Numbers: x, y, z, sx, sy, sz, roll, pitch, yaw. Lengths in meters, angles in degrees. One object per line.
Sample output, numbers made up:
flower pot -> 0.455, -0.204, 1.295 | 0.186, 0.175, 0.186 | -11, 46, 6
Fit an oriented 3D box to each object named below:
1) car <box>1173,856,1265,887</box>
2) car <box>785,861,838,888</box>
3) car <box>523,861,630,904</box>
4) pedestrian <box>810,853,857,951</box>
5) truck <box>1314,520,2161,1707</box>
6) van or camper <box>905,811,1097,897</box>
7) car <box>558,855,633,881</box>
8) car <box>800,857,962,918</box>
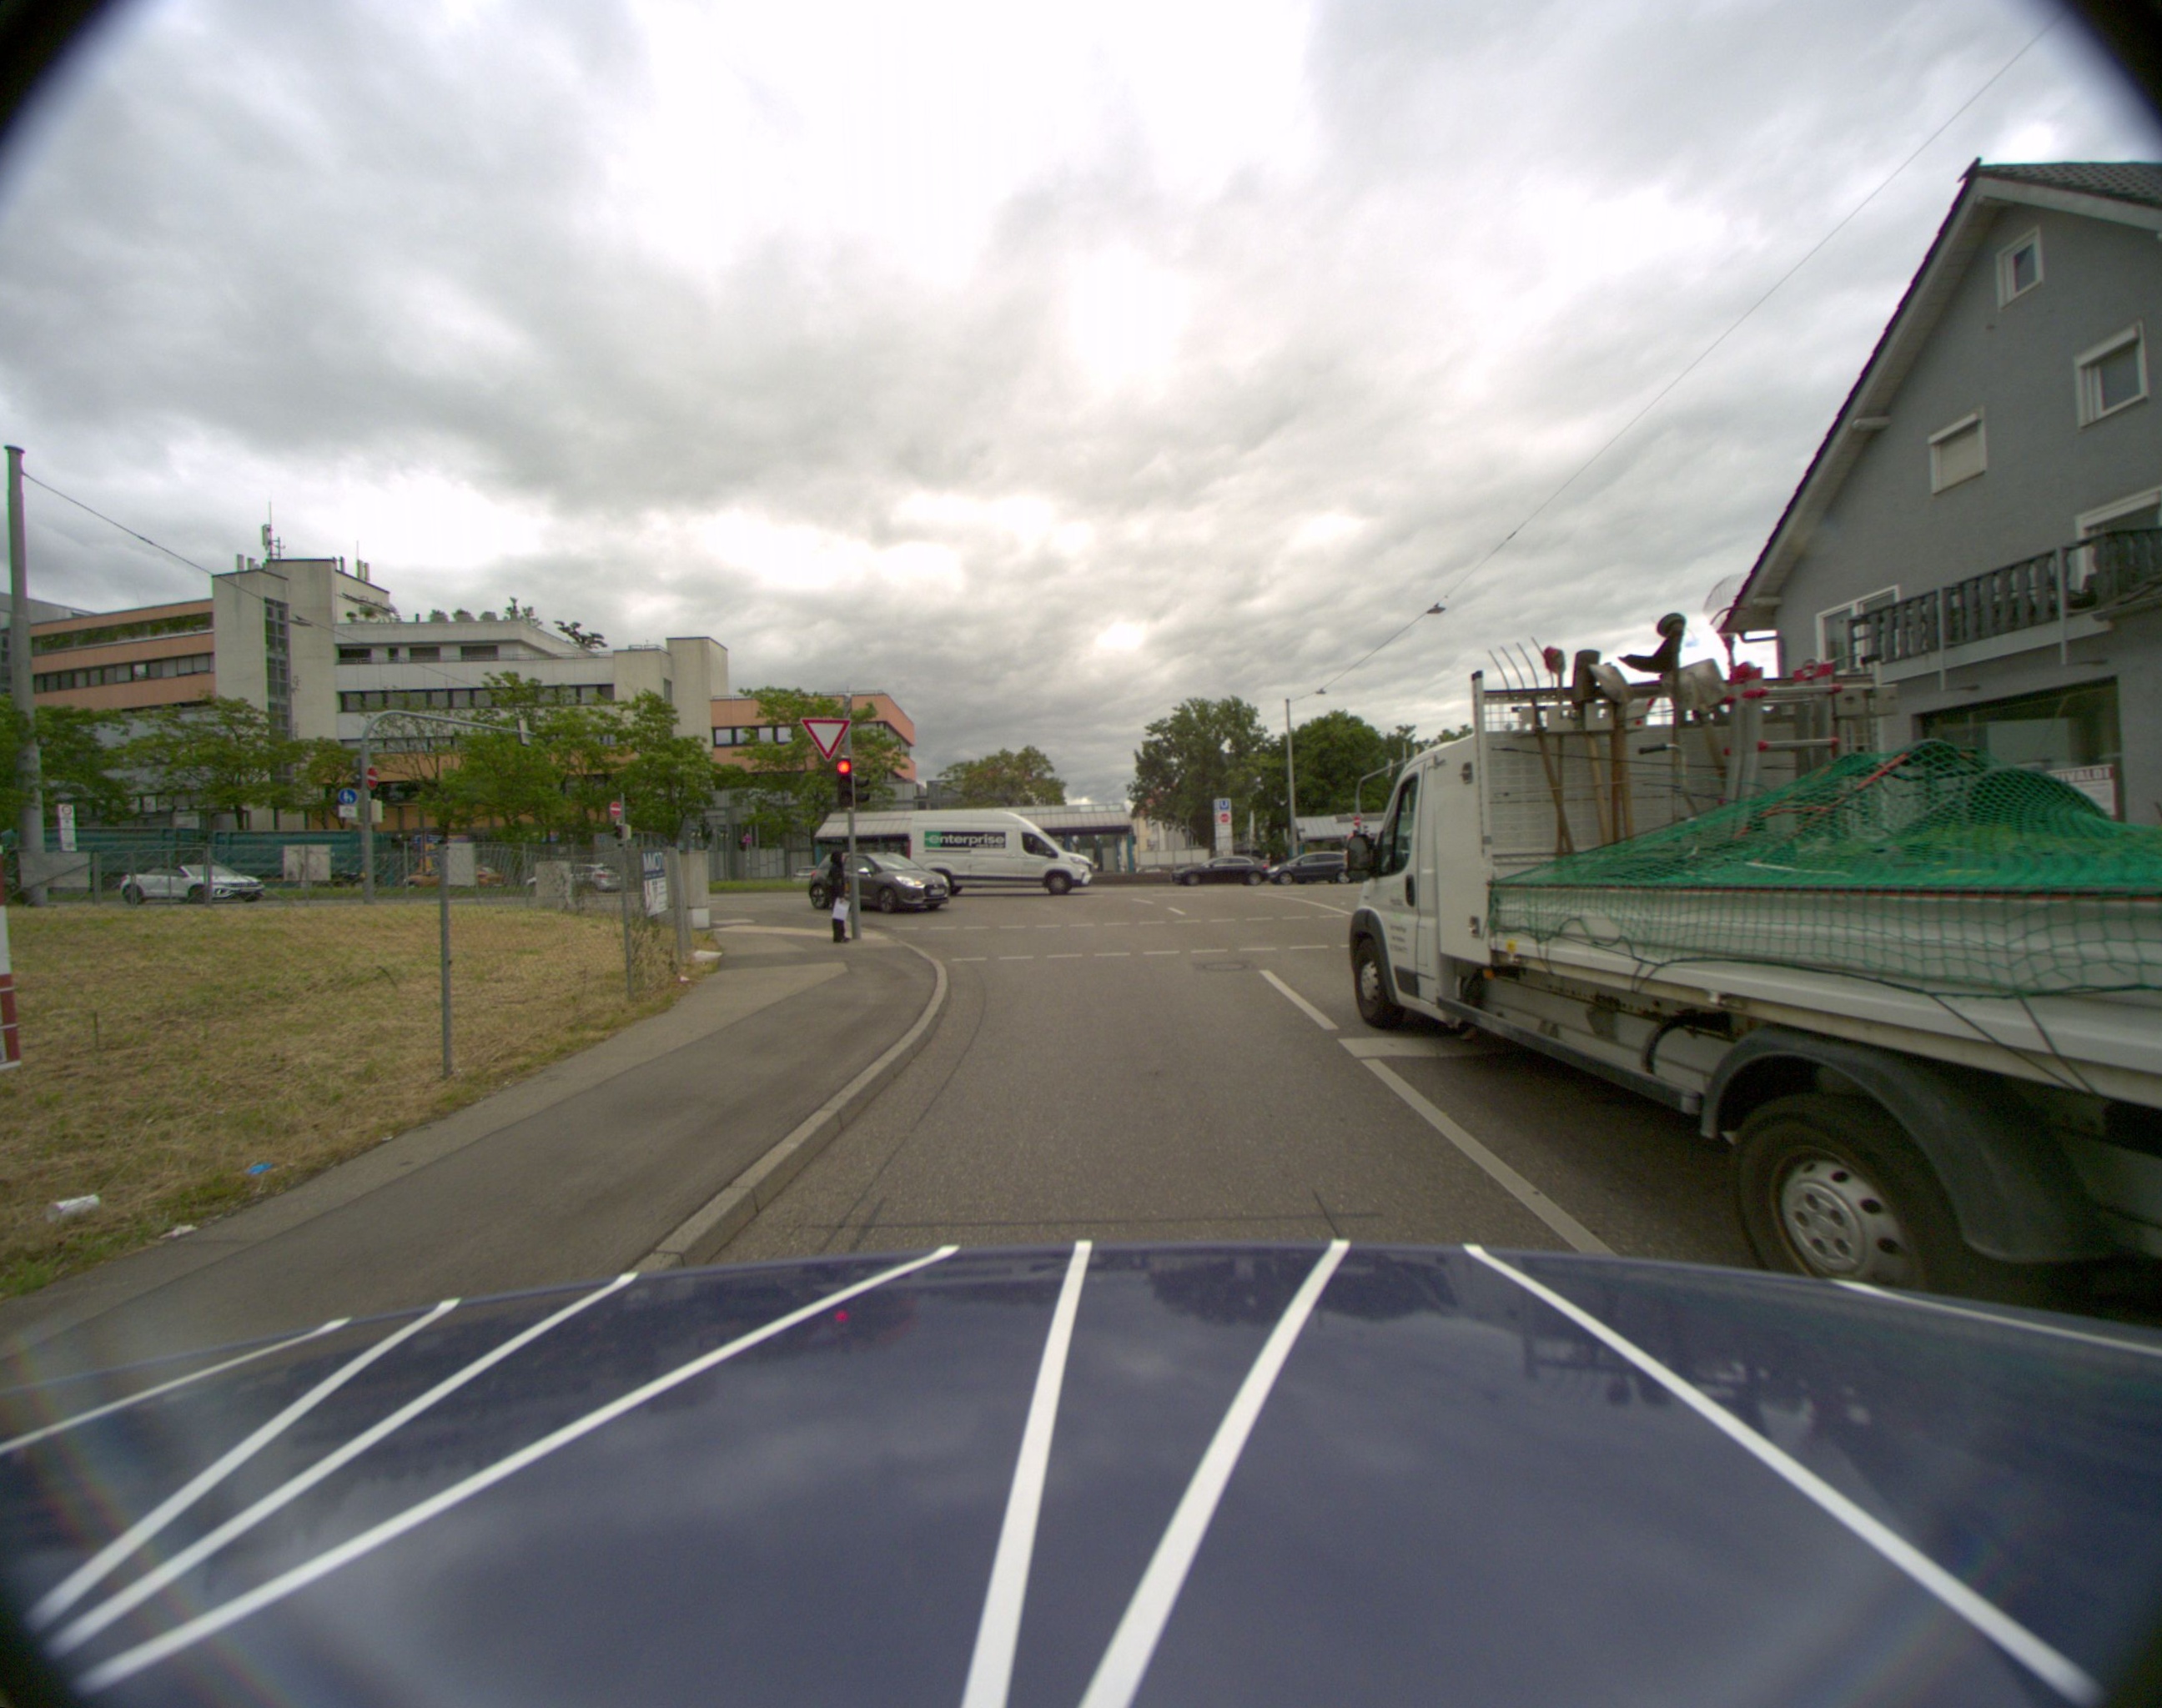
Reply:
car -> 6.210, 0.775, 34.516 | 3.914, 1.303, 1.668 | -1, 1, 2
car -> -16.657, 1.237, 47.093 | 1.802, 1.448, 4.000 | 1, 1, 1
car -> -25.094, 1.402, 37.922 | 3.997, 2.002, 2.000 | 1, 1, 1
pedestrian -> -4.140, 0.781, 12.736 | 0.553, 1.582, 0.672 | 1, 1, 1
truck -> 3.169, 0.430, 3.982 | 2.126, 2.188, 6.590 | -3, 0, 3
van or camper -> -2.485, -0.005, 24.873 | 5.932, 2.658, 2.258 | 0, 1, 3
car -> -24.589, 0.690, 38.526 | 2.995, 1.215, 1.294 | 1, 1, 2
car -> -5.039, 0.782, 19.122 | 3.772, 1.390, 1.650 | 0, 1, 26
